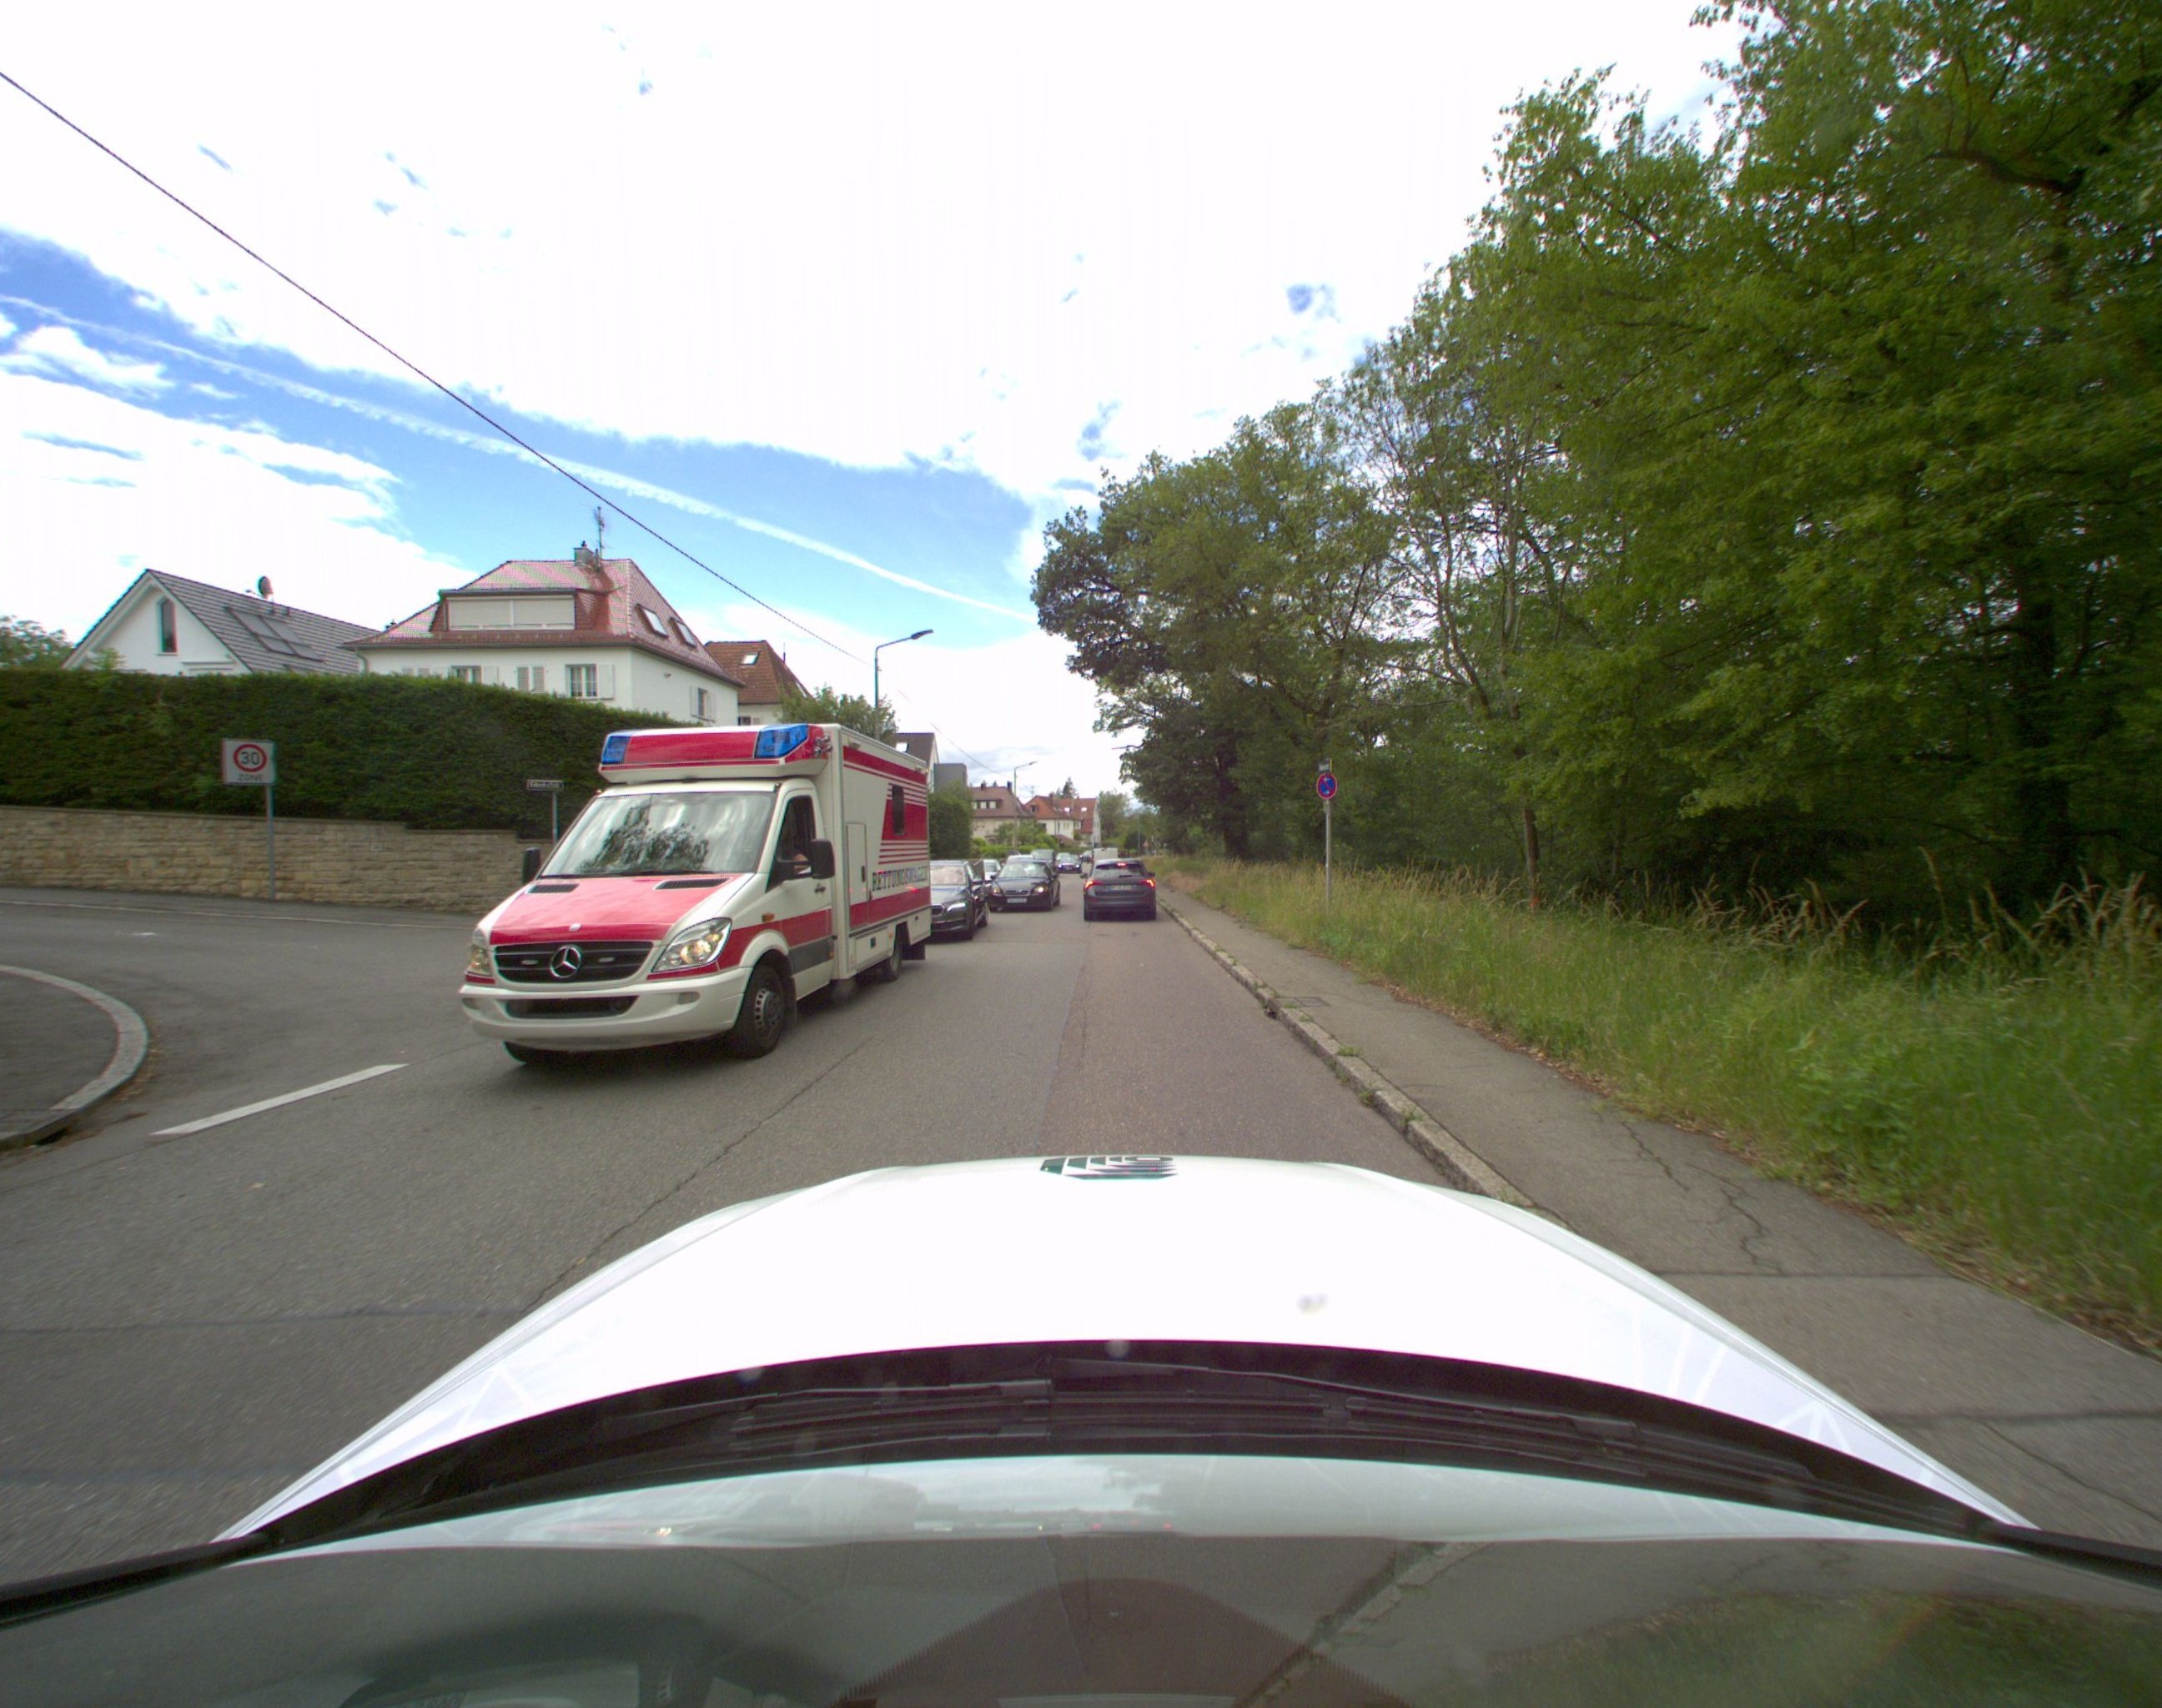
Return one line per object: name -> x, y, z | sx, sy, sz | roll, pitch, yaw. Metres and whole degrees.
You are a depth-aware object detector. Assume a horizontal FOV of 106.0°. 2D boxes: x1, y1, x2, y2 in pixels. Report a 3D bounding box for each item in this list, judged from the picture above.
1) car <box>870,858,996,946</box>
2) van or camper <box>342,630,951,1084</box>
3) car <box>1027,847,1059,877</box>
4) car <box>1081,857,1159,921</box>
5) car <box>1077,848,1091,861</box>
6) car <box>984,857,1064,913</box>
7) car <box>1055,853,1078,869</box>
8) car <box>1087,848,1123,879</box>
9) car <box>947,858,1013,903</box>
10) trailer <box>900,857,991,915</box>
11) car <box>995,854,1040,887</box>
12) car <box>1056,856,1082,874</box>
car -> -2.779, 0.841, 16.265 | 1.758, 1.446, 4.471 | -1, 0, -1
van or camper -> -3.415, 0.022, 8.874 | 2.446, 2.895, 7.173 | -1, 0, 3
car -> -2.543, 0.543, 55.704 | 1.856, 1.926, 5.039 | 1, 0, 1
car -> 0.894, 0.806, 20.725 | 1.723, 1.439, 4.322 | 0, 0, -1
car -> 0.383, 0.070, 108.058 | 1.827, 1.597, 4.325 | 0, 1, 1
car -> -1.574, 0.848, 24.009 | 1.756, 1.446, 4.477 | -1, 0, 3
car -> -1.427, 0.704, 80.570 | 1.774, 1.500, 4.022 | 1, 0, 6
car -> 1.512, 0.567, 53.140 | 2.066, 1.922, 4.919 | 0, 0, -1
car -> -3.769, 0.935, 31.095 | 1.757, 1.499, 4.475 | -2, 0, 1
trailer -> -3.931, 0.883, 24.361 | 1.756, 1.496, 4.476 | -1, 0, 2
car -> -3.352, 0.854, 43.760 | 1.831, 1.648, 4.188 | -2, 0, 2
car -> -0.923, 0.845, 64.528 | 1.856, 1.414, 4.593 | 1, 0, 1
